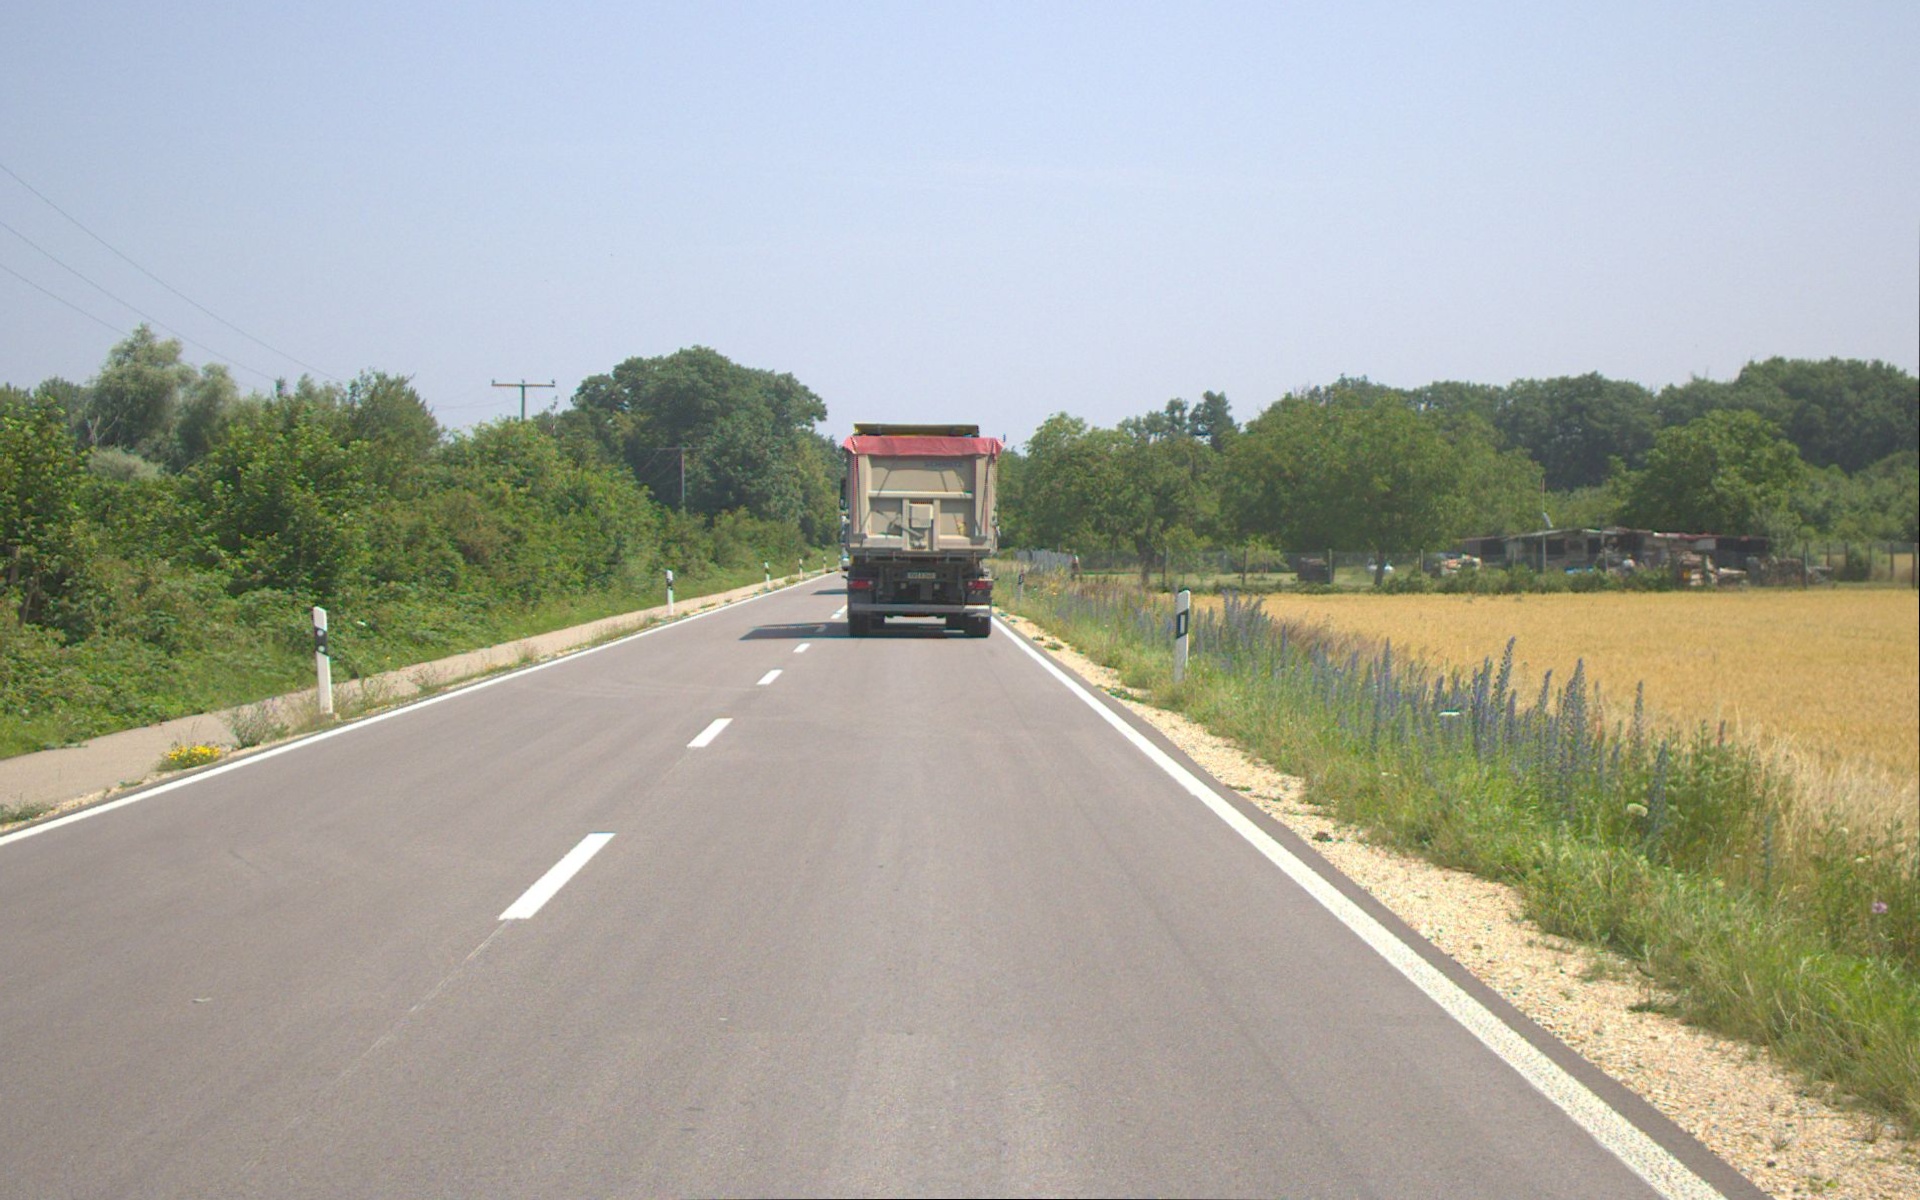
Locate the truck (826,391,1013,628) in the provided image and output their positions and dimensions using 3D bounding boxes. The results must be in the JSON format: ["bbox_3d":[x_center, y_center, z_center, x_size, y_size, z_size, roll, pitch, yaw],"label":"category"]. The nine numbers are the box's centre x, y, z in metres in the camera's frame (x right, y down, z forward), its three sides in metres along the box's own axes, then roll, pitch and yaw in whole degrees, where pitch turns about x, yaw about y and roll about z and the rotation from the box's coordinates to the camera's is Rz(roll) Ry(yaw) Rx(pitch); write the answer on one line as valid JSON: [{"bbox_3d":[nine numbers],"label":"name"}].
[{"bbox_3d":[-0.767,-1.569,63.212,3.009,3.861,12.210,2,1,-1],"label":"truck"}]

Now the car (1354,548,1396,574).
[{"bbox_3d":[24.467,-2.288,202.612,1.592,1.481,3.429,0,2,-8],"label":"car"}]

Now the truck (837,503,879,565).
[{"bbox_3d":[-7.162,-4.643,241.695,2.717,4.251,7.390,-2,1,-1],"label":"truck"}]

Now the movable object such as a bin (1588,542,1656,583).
[{"bbox_3d":[24.971,-1.421,129.724,1.570,1.491,3.660,0,1,-5],"label":"movable object such as a bin"}]
